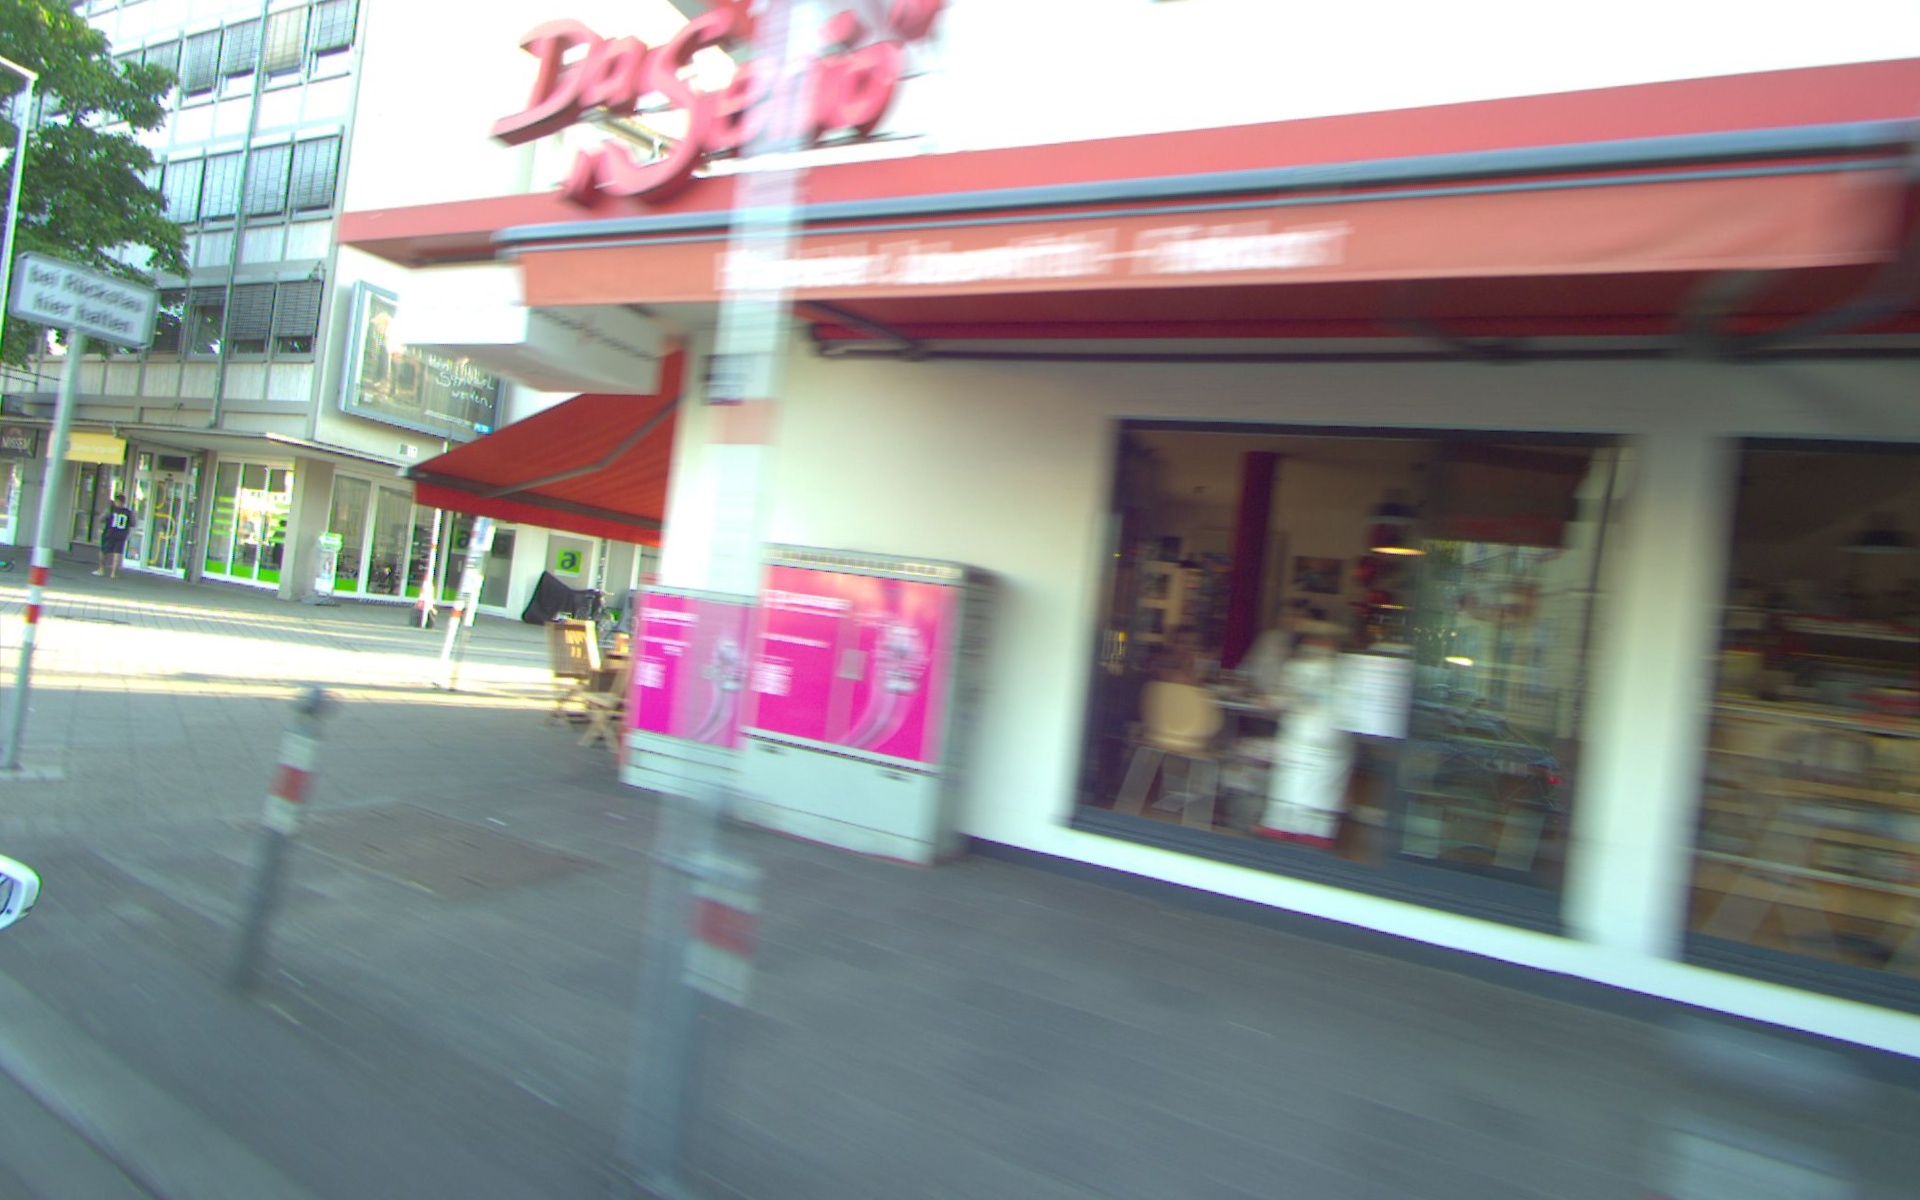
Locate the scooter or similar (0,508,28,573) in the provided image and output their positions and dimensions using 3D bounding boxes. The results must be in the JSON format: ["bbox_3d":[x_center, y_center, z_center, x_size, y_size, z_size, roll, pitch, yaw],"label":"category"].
[{"bbox_3d":[-19.024,-1.216,19.553,1.203,1.231,0.293,7,-2,-19],"label":"scooter or similar"}]

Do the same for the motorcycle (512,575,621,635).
[{"bbox_3d":[-9.698,0.143,24.875,2.280,1.182,0.800,9,-2,-42],"label":"motorcycle"}]

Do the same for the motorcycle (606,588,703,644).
[{"bbox_3d":[-8.032,0.428,26.513,2.260,1.171,0.731,9,-1,-42],"label":"motorcycle"}]

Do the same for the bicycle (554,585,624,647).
[{"bbox_3d":[-8.519,0.358,23.038,1.979,1.126,0.582,9,1,44],"label":"bicycle"}]

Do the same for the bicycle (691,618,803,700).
[{"bbox_3d":[-3.367,0.970,16.108,0.527,1.172,1.909,7,-2,29],"label":"bicycle"}]

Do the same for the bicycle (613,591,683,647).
[{"bbox_3d":[-7.422,0.441,23.883,1.895,1.125,0.626,5,-3,44],"label":"bicycle"}]

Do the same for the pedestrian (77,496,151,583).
[{"bbox_3d":[-18.123,-1.285,21.564,0.879,1.702,0.749,6,-2,27],"label":"pedestrian"}]

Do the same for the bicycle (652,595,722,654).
[{"bbox_3d":[-6.683,0.588,24.571,1.894,1.126,0.626,10,0,44],"label":"bicycle"}]
